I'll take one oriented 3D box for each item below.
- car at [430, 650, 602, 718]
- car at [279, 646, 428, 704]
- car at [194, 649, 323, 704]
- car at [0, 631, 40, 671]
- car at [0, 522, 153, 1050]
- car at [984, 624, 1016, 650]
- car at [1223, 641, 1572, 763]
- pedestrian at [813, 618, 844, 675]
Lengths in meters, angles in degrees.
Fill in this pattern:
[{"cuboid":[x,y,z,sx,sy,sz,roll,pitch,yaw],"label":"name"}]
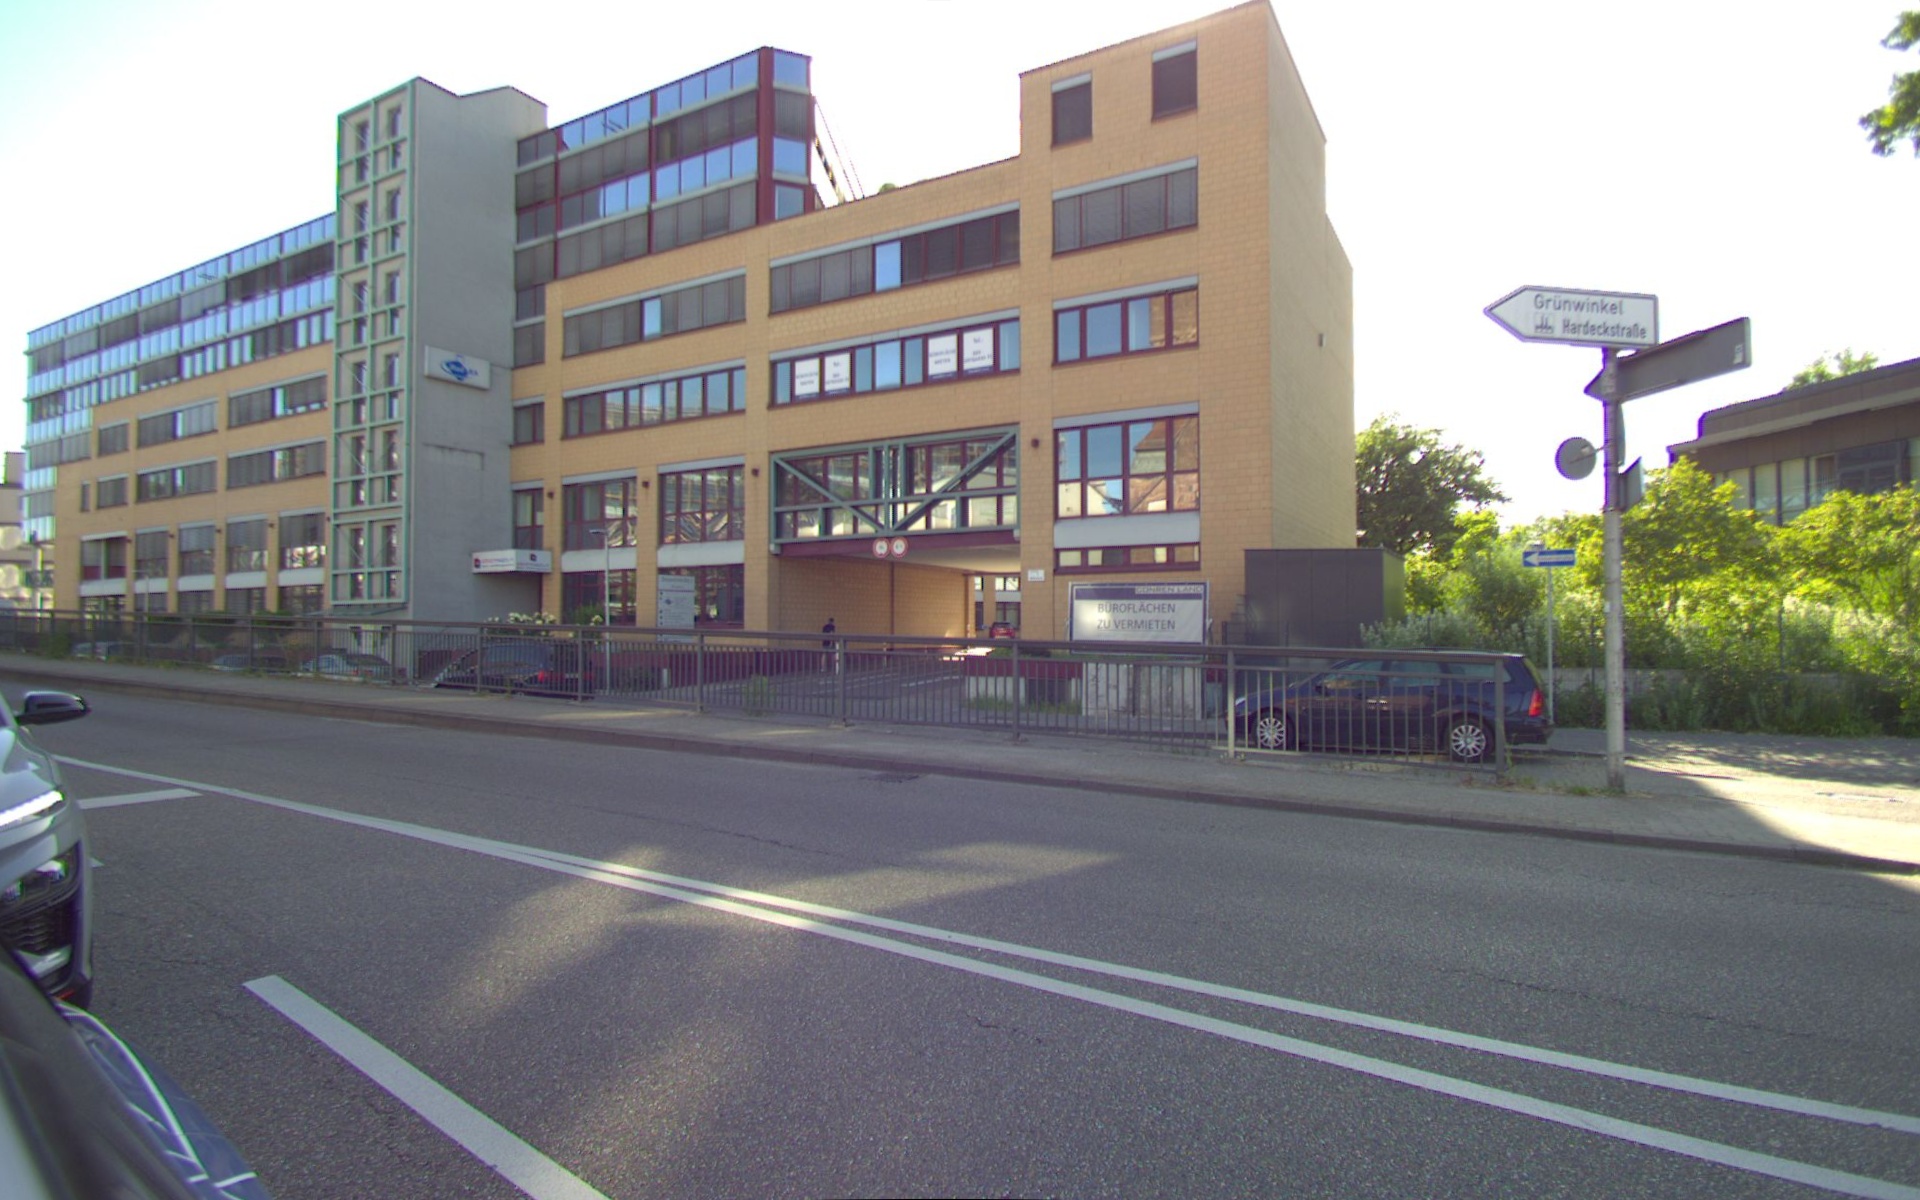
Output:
[{"cuboid":[-10.933,2.032,24.905,4.139,1.535,1.624,-2,-3,27],"label":"car"},{"cuboid":[-17.384,2.102,28.995,4.143,1.535,1.862,-2,-3,29],"label":"car"},{"cuboid":[-21.886,2.347,31.535,3.986,1.576,1.865,-2,-3,32],"label":"car"},{"cuboid":[-40.037,2.100,41.886,3.988,1.519,1.978,-1,0,33],"label":"car"},{"cuboid":[-4.902,0.616,4.141,4.196,1.634,1.854,-2,-3,42],"label":"car"},{"cuboid":[2.631,2.452,67.266,1.742,1.532,4.003,-1,0,-3],"label":"car"},{"cuboid":[6.210,1.429,14.606,4.367,1.520,1.640,-3,-5,34],"label":"car"},{"cuboid":[-4.402,1.534,33.877,0.703,1.865,0.738,-2,-1,35],"label":"pedestrian"}]
